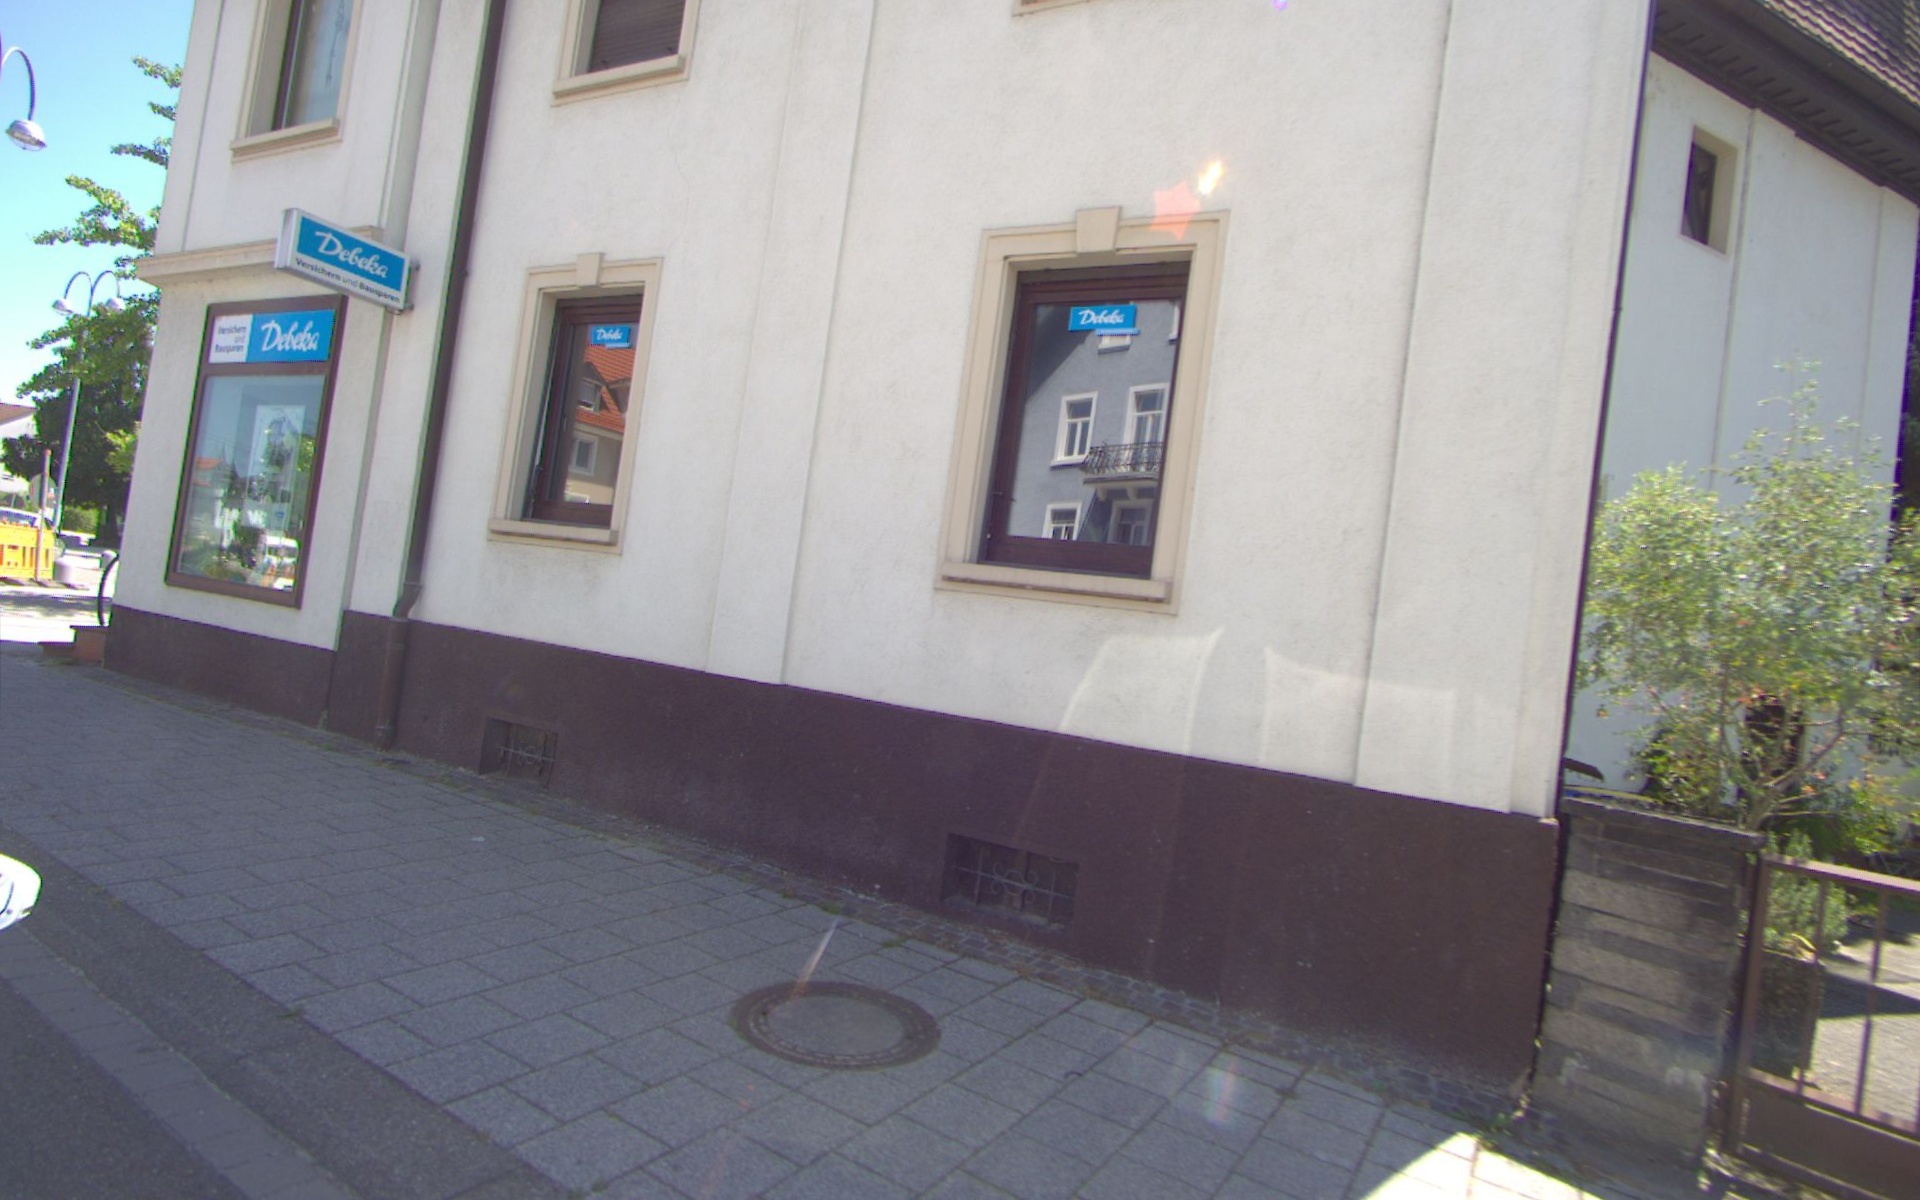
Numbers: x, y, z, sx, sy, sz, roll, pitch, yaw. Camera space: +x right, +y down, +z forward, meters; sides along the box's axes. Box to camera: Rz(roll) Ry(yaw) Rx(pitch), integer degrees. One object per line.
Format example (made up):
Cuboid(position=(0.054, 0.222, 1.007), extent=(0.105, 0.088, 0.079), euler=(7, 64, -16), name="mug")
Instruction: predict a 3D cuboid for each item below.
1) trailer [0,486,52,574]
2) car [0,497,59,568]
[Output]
Cuboid(position=(-20.725, -1.629, 20.249), extent=(1.724, 1.736, 3.201), euler=(8, -3, 2), name="trailer")
Cuboid(position=(-22.756, -1.705, 23.566), extent=(3.655, 1.453, 1.739), euler=(6, -1, 38), name="car")
